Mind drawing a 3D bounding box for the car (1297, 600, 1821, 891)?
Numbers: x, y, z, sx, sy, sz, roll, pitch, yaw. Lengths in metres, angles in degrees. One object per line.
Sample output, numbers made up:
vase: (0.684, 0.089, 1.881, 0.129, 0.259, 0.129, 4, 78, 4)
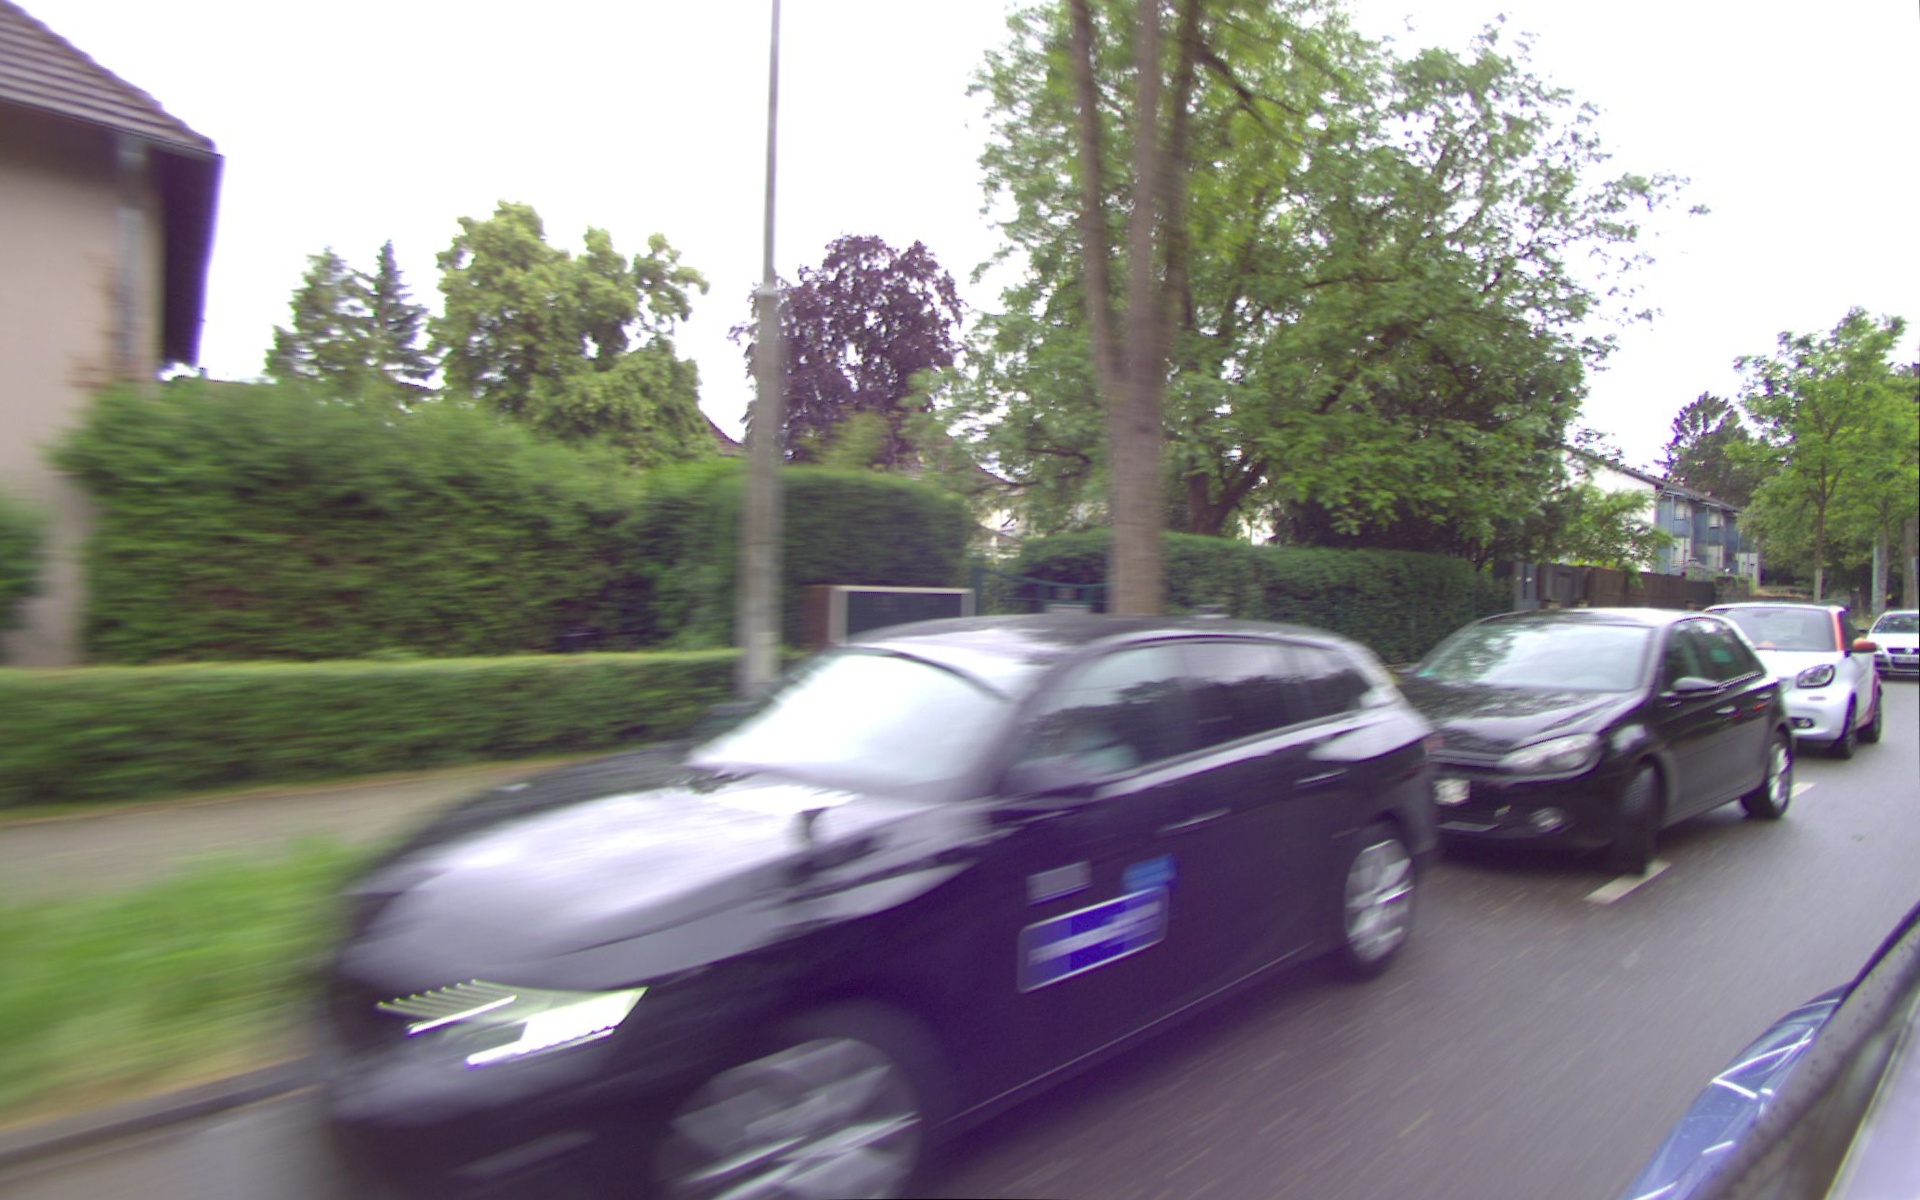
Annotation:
car: (4.207, 0.735, 6.893, 3.926, 1.428, 1.733, 0, -1, -38)

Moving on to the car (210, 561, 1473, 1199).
car: (0.102, 0.704, 3.605, 4.334, 1.487, 1.619, 0, -1, -42)

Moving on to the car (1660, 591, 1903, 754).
car: (8.974, 0.683, 11.017, 2.752, 1.536, 1.600, 0, 0, -41)

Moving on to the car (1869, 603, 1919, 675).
car: (20.672, 0.780, 21.435, 3.635, 1.447, 1.673, 0, 0, -41)
